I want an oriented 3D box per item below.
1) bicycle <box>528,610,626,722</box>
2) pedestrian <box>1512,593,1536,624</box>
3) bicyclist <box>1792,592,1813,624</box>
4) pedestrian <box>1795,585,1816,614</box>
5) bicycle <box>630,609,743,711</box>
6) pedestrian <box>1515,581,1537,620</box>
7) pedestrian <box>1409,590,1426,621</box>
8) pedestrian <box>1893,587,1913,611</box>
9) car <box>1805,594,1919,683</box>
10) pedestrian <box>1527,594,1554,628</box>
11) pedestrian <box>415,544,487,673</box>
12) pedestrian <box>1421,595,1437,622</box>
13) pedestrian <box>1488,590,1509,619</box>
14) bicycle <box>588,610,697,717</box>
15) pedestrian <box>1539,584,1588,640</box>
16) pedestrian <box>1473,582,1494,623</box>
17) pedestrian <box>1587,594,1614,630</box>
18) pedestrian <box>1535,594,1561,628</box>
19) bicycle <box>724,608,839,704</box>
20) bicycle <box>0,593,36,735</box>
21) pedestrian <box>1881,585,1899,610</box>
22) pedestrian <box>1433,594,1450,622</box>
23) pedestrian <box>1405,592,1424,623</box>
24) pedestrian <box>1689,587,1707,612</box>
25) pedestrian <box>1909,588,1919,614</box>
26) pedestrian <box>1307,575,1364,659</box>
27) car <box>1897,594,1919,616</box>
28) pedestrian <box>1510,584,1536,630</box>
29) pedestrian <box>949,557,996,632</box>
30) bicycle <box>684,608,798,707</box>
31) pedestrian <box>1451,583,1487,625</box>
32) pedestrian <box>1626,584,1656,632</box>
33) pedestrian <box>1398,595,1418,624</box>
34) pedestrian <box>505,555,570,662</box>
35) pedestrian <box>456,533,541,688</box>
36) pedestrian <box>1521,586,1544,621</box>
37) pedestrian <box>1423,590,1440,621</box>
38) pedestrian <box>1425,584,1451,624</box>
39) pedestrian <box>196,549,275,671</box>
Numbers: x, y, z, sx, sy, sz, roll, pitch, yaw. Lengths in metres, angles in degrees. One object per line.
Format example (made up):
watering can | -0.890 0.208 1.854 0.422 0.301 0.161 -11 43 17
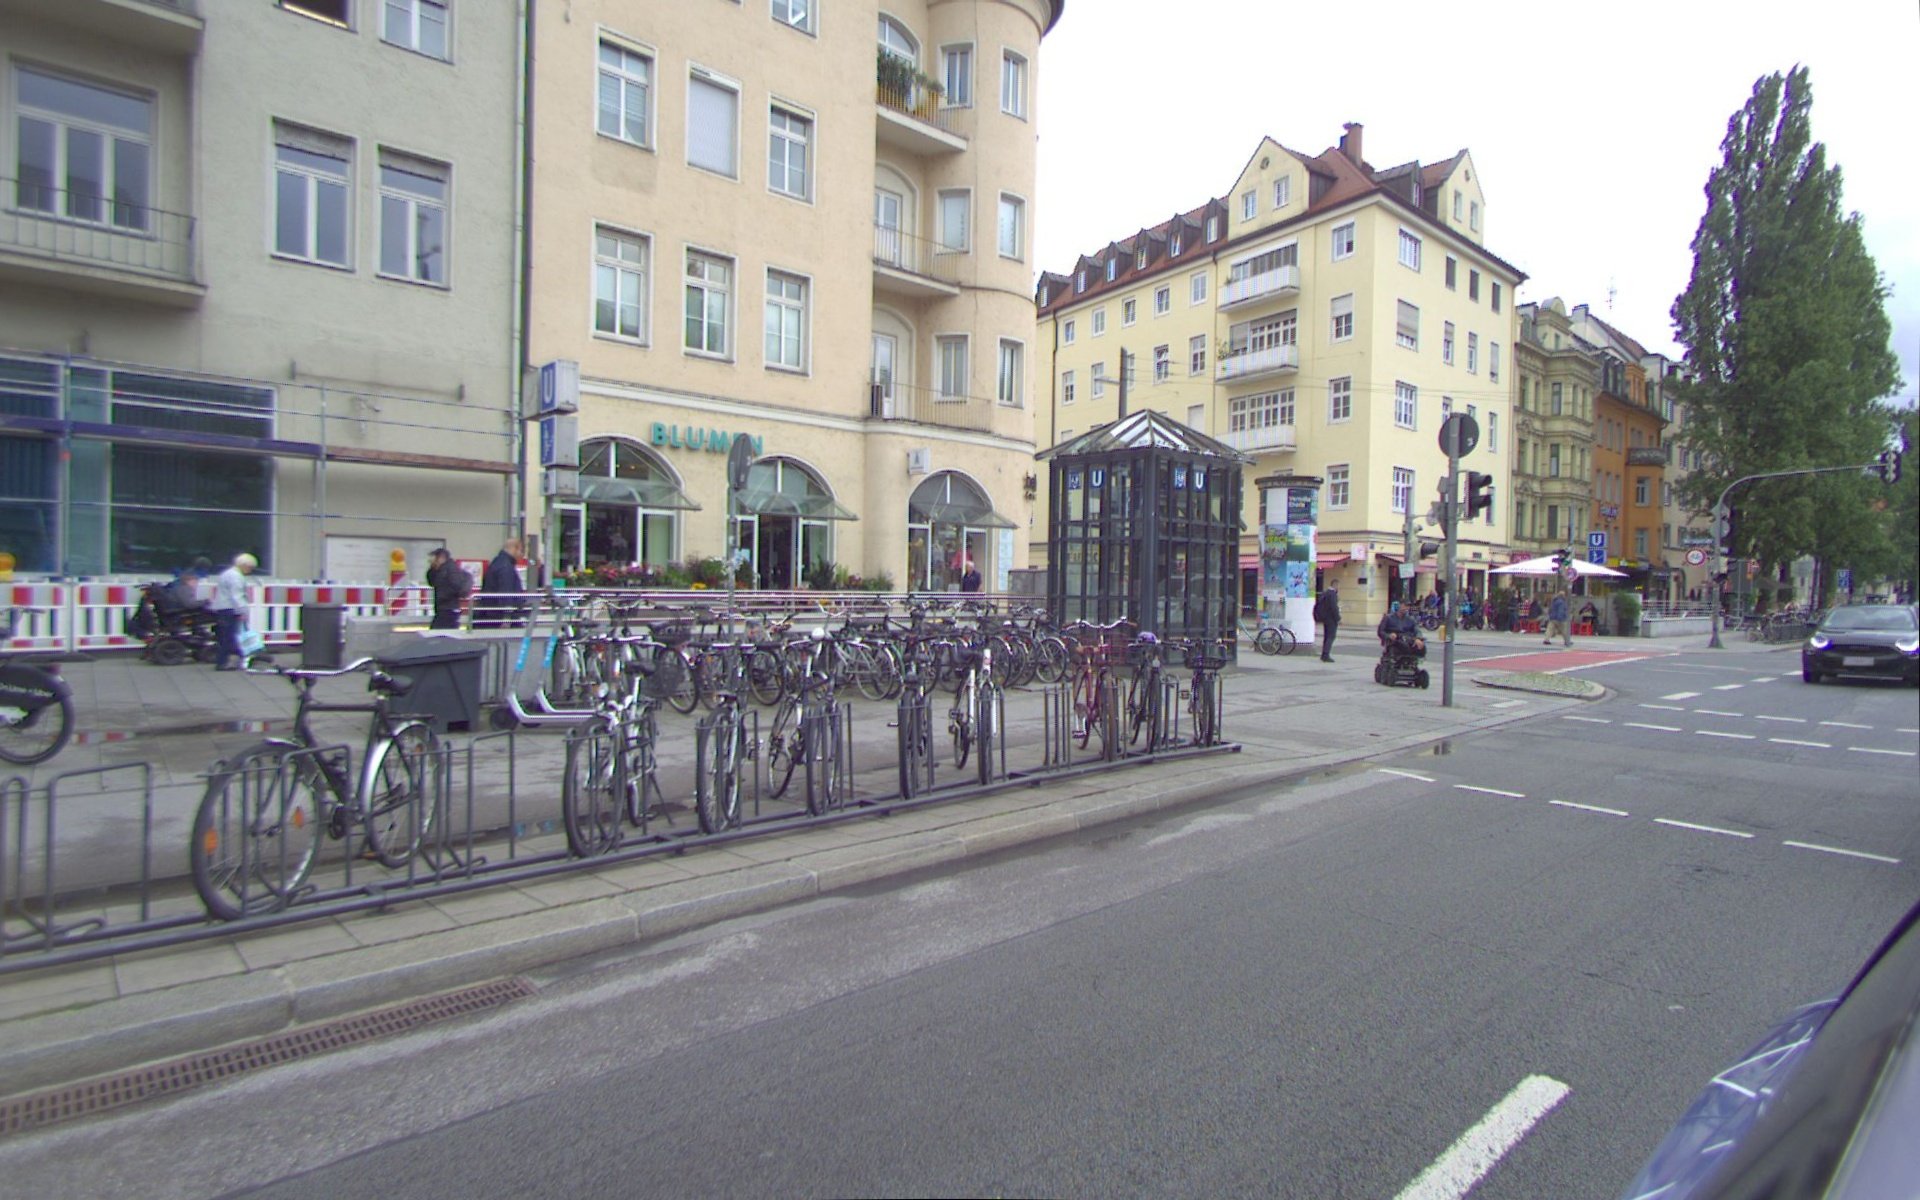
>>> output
bicycle | -3.933 0.628 10.325 0.363 0.976 1.758 1 1 -40
pedestrian | 22.869 0.326 41.021 0.688 1.218 0.627 0 1 -41
bicyclist | 43.832 0.393 52.670 0.923 1.623 0.681 0 1 -42
pedestrian | 46.642 -0.029 55.802 0.749 1.582 0.761 1 0 -40
bicycle | -3.053 0.621 11.189 0.445 0.976 1.757 1 1 -42
pedestrian | 24.607 0.012 43.983 0.666 1.653 0.616 0 1 -41
pedestrian | 19.787 0.248 43.766 0.518 1.315 0.479 0 1 -43
pedestrian | 66.666 -0.072 71.543 0.743 1.658 0.700 1 0 5
car | 17.809 0.670 19.525 3.902 1.523 1.778 -1 0 -42
pedestrian | 22.781 0.422 39.740 0.782 1.328 0.679 0 1 -41
pedestrian | -6.919 0.106 13.759 0.709 1.691 0.659 1 2 -40
pedestrian | 20.622 0.357 44.519 0.518 1.180 0.479 0 1 -43
pedestrian | 23.495 0.176 44.179 0.654 1.237 0.601 0 1 -41
bicycle | -3.403 0.634 10.752 0.445 0.976 1.758 1 1 -40
pedestrian | 19.599 0.372 32.880 1.043 1.777 0.938 1 1 -29
pedestrian | 23.124 0.108 44.682 0.654 1.761 0.601 0 1 -41
pedestrian | 24.610 0.452 38.899 0.782 1.327 0.679 0 1 -41
pedestrian | 23.435 0.422 40.319 0.782 1.328 0.679 0 1 -41
bicycle | -2.118 0.620 11.860 0.445 0.976 1.757 1 1 -42
bicycle | -8.227 0.509 8.605 0.443 1.088 1.554 1 1 -39
pedestrian | 65.776 -0.173 71.589 0.638 1.803 0.702 1 0 -8
pedestrian | 21.020 0.353 44.163 0.518 1.180 0.479 0 1 -43
pedestrian | 19.302 0.310 42.990 0.691 1.308 0.515 0 1 -43
pedestrian | 50.922 -0.033 69.820 0.999 1.735 0.747 0 1 -42
pedestrian | 68.059 0.051 71.820 0.741 1.824 0.883 1 0 -31
pedestrian | 7.831 0.343 21.156 0.803 1.712 0.838 1 1 -4
car | 77.382 0.430 82.007 4.426 1.681 1.735 0 1 -43
pedestrian | 21.308 0.258 38.300 0.752 1.716 0.762 1 1 23
pedestrian | 0.298 -0.134 24.136 0.670 1.727 0.746 5 -1 -41
bicycle | -2.536 0.621 11.586 0.445 0.976 1.757 1 1 -42
pedestrian | 21.059 0.175 41.883 1.018 1.704 0.840 1 1 -10
pedestrian | 25.561 0.290 37.997 0.877 1.765 0.848 2 1 32
pedestrian | 18.755 0.382 42.340 0.691 1.197 0.515 0 1 -43
pedestrian | -6.885 0.121 16.486 0.745 1.671 0.752 1 2 -43
pedestrian | -5.462 0.107 11.958 0.744 1.749 0.816 1 2 -35
pedestrian | 24.395 0.151 43.113 0.606 1.440 0.676 0 1 -41
pedestrian | 20.209 0.238 43.369 0.518 1.315 0.479 0 1 -43
pedestrian | 19.827 0.156 41.968 0.773 1.653 0.711 0 1 -41
pedestrian | -9.542 0.114 13.328 0.745 1.536 0.778 1 2 -43
